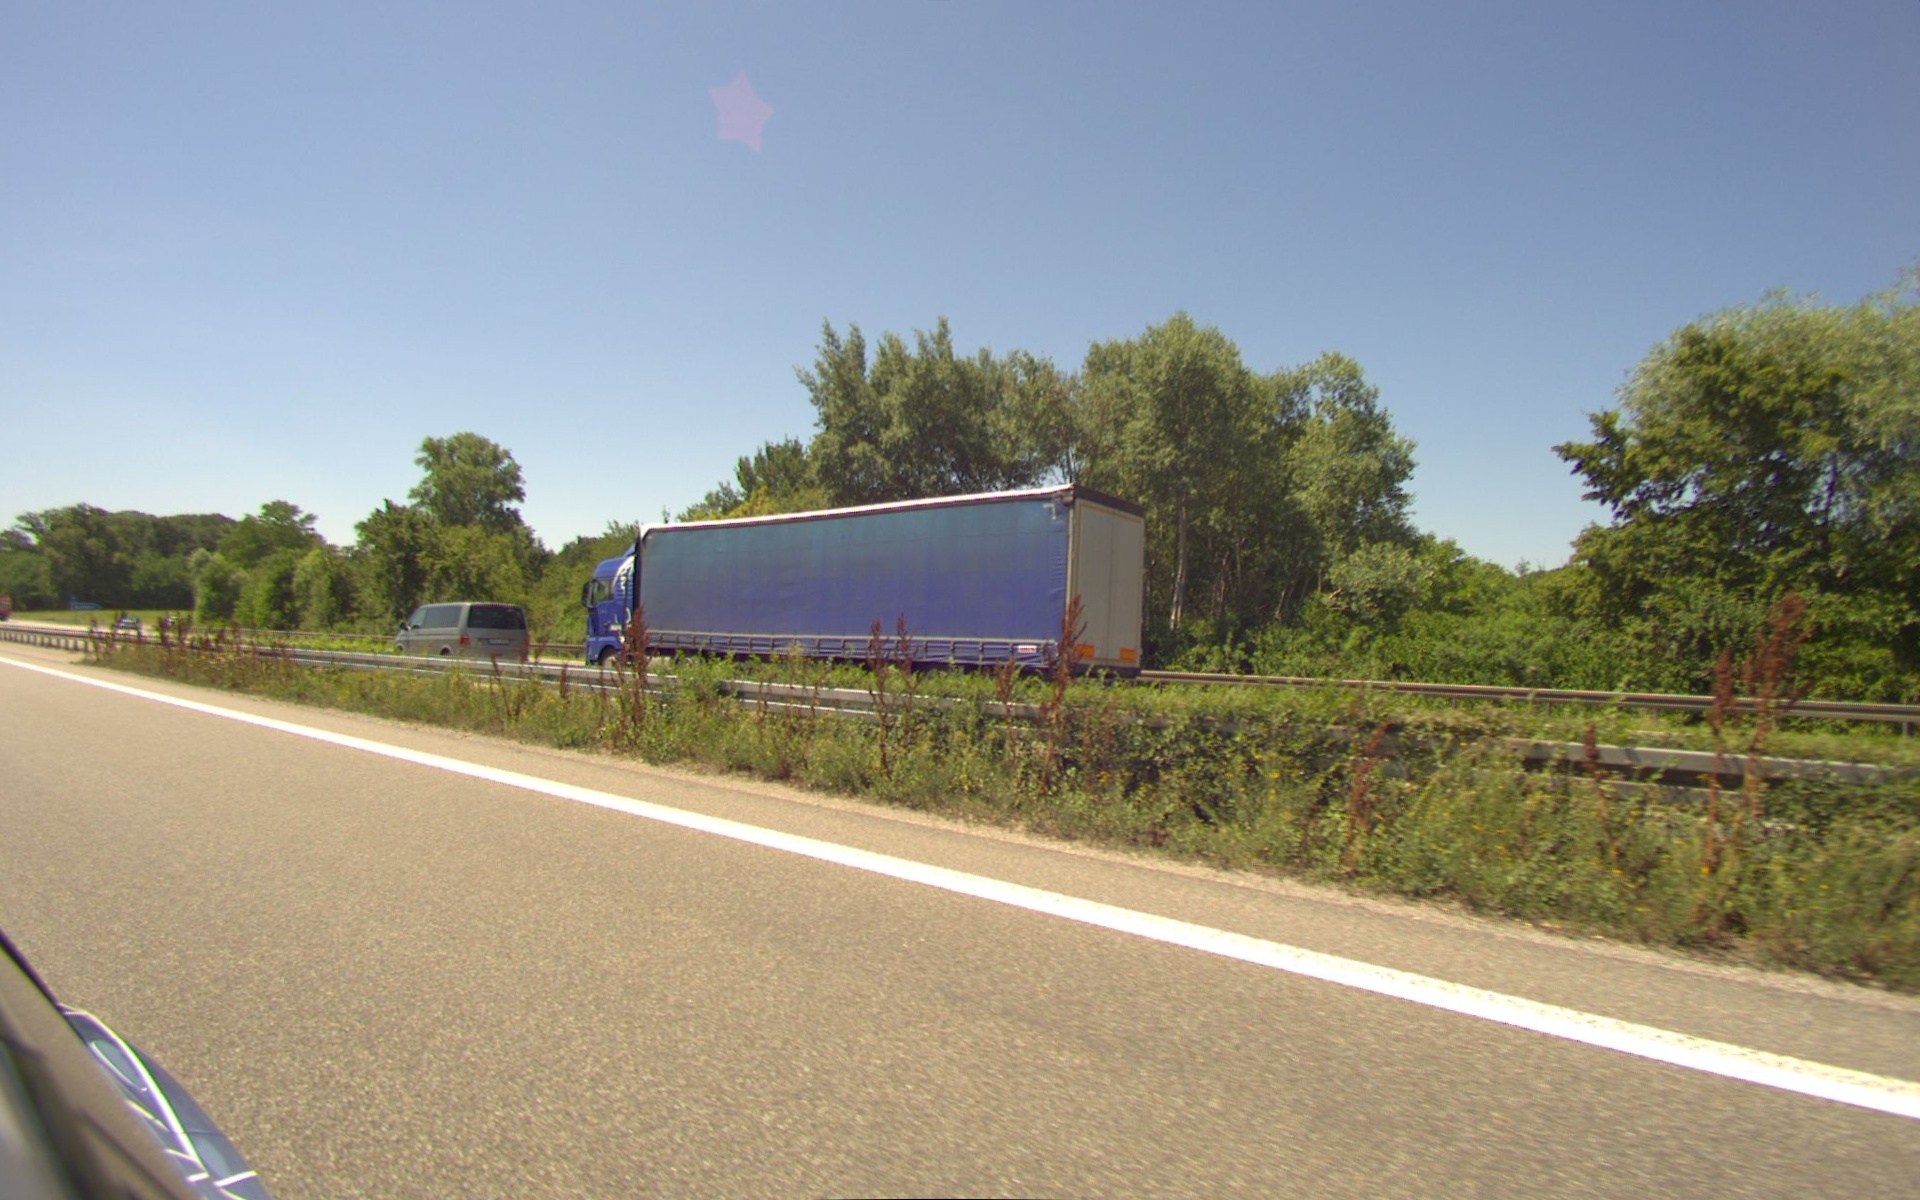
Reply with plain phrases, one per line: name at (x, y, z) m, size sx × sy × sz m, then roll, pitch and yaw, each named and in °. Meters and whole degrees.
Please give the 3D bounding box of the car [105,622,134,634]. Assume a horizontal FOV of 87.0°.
car at (-104.406, 3.446, 125.658) m, size 4.971 × 1.423 × 1.972 m, roll -1°, pitch -2°, yaw 42°

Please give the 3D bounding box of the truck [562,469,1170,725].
truck at (-3.501, 0.095, 23.625) m, size 17.169 × 4.278 × 2.925 m, roll -1°, pitch -3°, yaw 40°

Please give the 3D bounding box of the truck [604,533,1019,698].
truck at (-5.373, 0.524, 31.161) m, size 15.809 × 4.049 × 2.925 m, roll -1°, pitch -3°, yaw 40°

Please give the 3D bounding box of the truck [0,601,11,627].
truck at (-143.422, 2.060, 149.975) m, size 9.800 × 3.755 × 3.032 m, roll -1°, pitch -2°, yaw 41°

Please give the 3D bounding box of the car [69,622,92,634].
car at (-123.623, 3.922, 142.200) m, size 4.268 × 1.590 × 1.971 m, roll -1°, pitch -3°, yaw 43°

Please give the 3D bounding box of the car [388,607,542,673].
car at (-13.277, 1.034, 27.006) m, size 4.816 × 1.602 × 1.972 m, roll -1°, pitch -3°, yaw 41°
